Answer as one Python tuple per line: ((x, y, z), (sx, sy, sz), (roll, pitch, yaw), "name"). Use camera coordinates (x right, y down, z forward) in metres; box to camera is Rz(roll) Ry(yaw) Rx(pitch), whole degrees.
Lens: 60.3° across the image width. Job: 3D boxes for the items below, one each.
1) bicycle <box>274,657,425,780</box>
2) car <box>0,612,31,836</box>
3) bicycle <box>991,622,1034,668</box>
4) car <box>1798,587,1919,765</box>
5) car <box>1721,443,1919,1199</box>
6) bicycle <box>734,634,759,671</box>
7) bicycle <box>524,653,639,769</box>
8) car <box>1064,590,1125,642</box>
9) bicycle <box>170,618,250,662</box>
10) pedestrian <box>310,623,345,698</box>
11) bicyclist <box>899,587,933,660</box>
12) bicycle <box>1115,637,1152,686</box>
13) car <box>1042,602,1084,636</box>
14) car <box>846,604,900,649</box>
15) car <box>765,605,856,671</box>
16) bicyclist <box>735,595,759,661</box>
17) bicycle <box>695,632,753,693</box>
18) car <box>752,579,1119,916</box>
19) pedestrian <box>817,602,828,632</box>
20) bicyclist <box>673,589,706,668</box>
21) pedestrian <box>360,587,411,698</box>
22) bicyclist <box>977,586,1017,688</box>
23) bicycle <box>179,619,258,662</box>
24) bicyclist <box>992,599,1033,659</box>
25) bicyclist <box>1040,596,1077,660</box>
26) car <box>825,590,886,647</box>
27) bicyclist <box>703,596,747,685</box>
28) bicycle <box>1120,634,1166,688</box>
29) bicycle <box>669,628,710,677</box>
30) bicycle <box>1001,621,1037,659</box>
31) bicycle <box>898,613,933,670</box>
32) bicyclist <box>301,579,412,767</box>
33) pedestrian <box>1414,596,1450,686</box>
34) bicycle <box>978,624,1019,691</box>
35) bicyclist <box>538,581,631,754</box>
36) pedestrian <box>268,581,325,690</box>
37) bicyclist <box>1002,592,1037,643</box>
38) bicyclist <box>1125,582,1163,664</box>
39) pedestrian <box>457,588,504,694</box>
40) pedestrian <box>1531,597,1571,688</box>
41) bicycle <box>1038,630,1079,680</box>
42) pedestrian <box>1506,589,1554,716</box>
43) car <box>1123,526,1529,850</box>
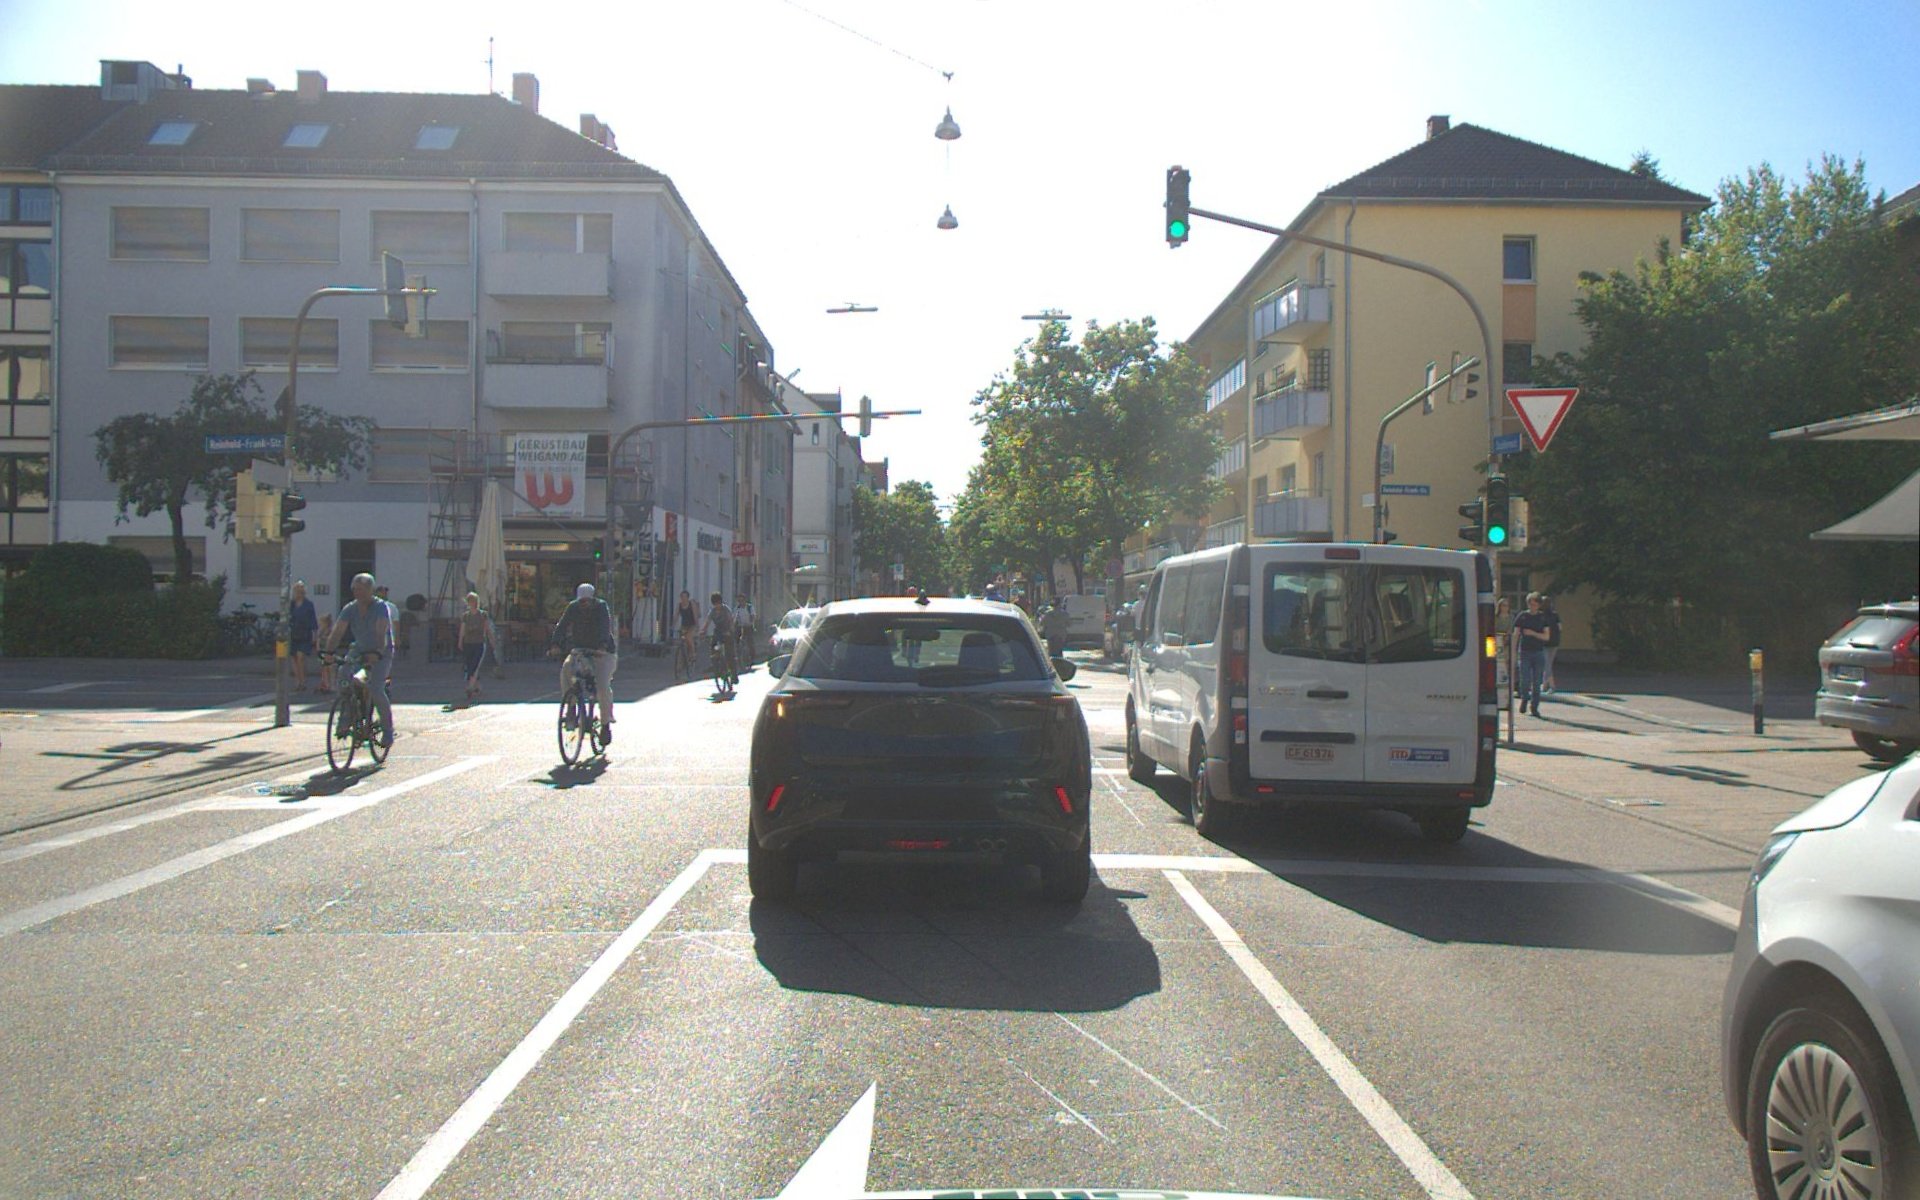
((-5.532, 1.045, 15.110), (0.666, 0.969, 1.933), (-1, 0, -1), "bicycle")
((-7.086, 0.789, 9.248), (1.657, 1.473, 3.855), (2, 0, -2), "car")
((1.209, 1.032, 38.458), (0.839, 0.961, 2.307), (2, 0, -1), "bicycle")
((10.835, 0.728, 16.648), (3.906, 1.691, 1.825), (0, 0, -1), "car")
((2.967, 0.597, 1.798), (1.928, 1.842, 4.830), (0, 0, -2), "car")
((-5.206, 1.270, 40.297), (0.543, 0.848, 2.127), (1, 0, -8), "bicycle")
((-3.607, 1.037, 15.901), (0.666, 0.969, 1.933), (-1, 0, -1), "bicycle")
((4.989, 0.584, 61.944), (2.004, 1.879, 4.585), (0, 0, 1), "car")
((-16.730, 0.889, 36.912), (1.556, 0.956, 0.512), (0, 0, 1), "bicycle")
((-10.016, 0.953, 26.195), (0.378, 1.166, 0.531), (0, 0, -6), "pedestrian")
((-1.033, 0.536, 38.765), (0.785, 1.678, 1.125), (0, 0, -2), "bicyclist")
((3.403, 1.189, 32.472), (0.535, 0.881, 1.876), (0, 0, 0), "bicycle")
((4.680, 0.851, 75.172), (1.678, 1.509, 3.380), (0, 0, 0), "car")
((-3.027, 0.898, 57.513), (1.769, 1.437, 4.423), (-1, 0, -3), "car")
((-3.494, 0.855, 39.194), (1.800, 1.459, 4.176), (0, 0, 0), "car")
((-5.196, 0.681, 40.353), (0.543, 1.576, 0.813), (1, 0, -9), "bicyclist")
((-3.808, 1.001, 26.816), (0.531, 0.918, 1.827), (0, 0, 5), "bicycle")
((-0.147, 0.712, 9.819), (1.726, 1.586, 3.999), (0, 0, -1), "car")
((-7.400, 0.918, 89.226), (0.566, 1.610, 0.707), (0, 0, -6), "pedestrian")
((-5.370, 0.563, 32.874), (0.531, 1.547, 0.774), (0, 0, -1), "bicyclist")
((-9.010, 0.653, 25.961), (0.561, 1.718, 0.669), (0, 0, -1), "pedestrian")
((0.620, 0.612, 28.107), (0.619, 1.698, 1.050), (0, 0, -1), "bicyclist")
((-16.821, 0.916, 37.540), (1.556, 0.956, 0.512), (0, 0, 1), "bicycle")
((1.223, 0.655, 38.497), (0.839, 1.337, 1.210), (2, 0, -1), "bicyclist")
((1.869, 0.529, 31.486), (0.678, 1.214, 0.595), (0, 0, 0), "bicyclist")
((-3.055, 0.544, 48.781), (1.559, 1.593, 4.088), (-1, -1, -1), "car")
((-3.805, 0.652, 26.825), (0.531, 1.415, 0.789), (0, 0, 5), "bicyclist")
((3.213, 1.060, 29.121), (0.607, 0.881, 1.876), (0, 0, 0), "bicycle")
((-5.371, 1.038, 32.890), (0.531, 0.918, 1.826), (0, 0, -1), "bicycle")
((1.623, 1.093, 45.628), (0.839, 0.961, 2.307), (2, 0, -1), "bicycle")
((-1.038, 0.951, 38.686), (0.785, 1.277, 2.138), (0, 0, -1), "bicycle")
((-5.547, 0.654, 15.236), (0.666, 1.659, 0.899), (-1, 0, -1), "bicyclist")
((9.478, 0.810, 33.232), (0.515, 1.792, 0.623), (0, 0, -3), "pedestrian")
((0.638, 0.960, 28.140), (0.619, 1.059, 1.795), (0, 0, -1), "bicycle")
((-3.622, 0.636, 16.000), (0.666, 1.604, 0.899), (-1, 0, -1), "bicyclist")
((-10.632, 0.564, 26.532), (0.561, 1.712, 0.968), (0, 0, -4), "pedestrian")
((1.644, 0.477, 45.668), (0.839, 1.337, 1.210), (2, 0, -1), "bicyclist")
((3.209, 0.396, 28.928), (0.576, 1.406, 0.823), (0, 0, 0), "bicyclist")
((-7.423, 0.629, 25.621), (0.520, 1.609, 0.563), (0, 0, 6), "pedestrian")
((10.523, 0.750, 29.458), (0.528, 1.598, 0.539), (0, 0, -1), "pedestrian")
((1.866, 1.035, 31.494), (0.677, 0.881, 1.876), (0, 0, 0), "bicycle")
((8.398, 0.761, 24.387), (0.591, 1.854, 0.629), (0, 0, 12), "pedestrian")
((2.547, 0.569, 12.895), (1.928, 1.974, 5.054), (2, 0, -1), "car")
